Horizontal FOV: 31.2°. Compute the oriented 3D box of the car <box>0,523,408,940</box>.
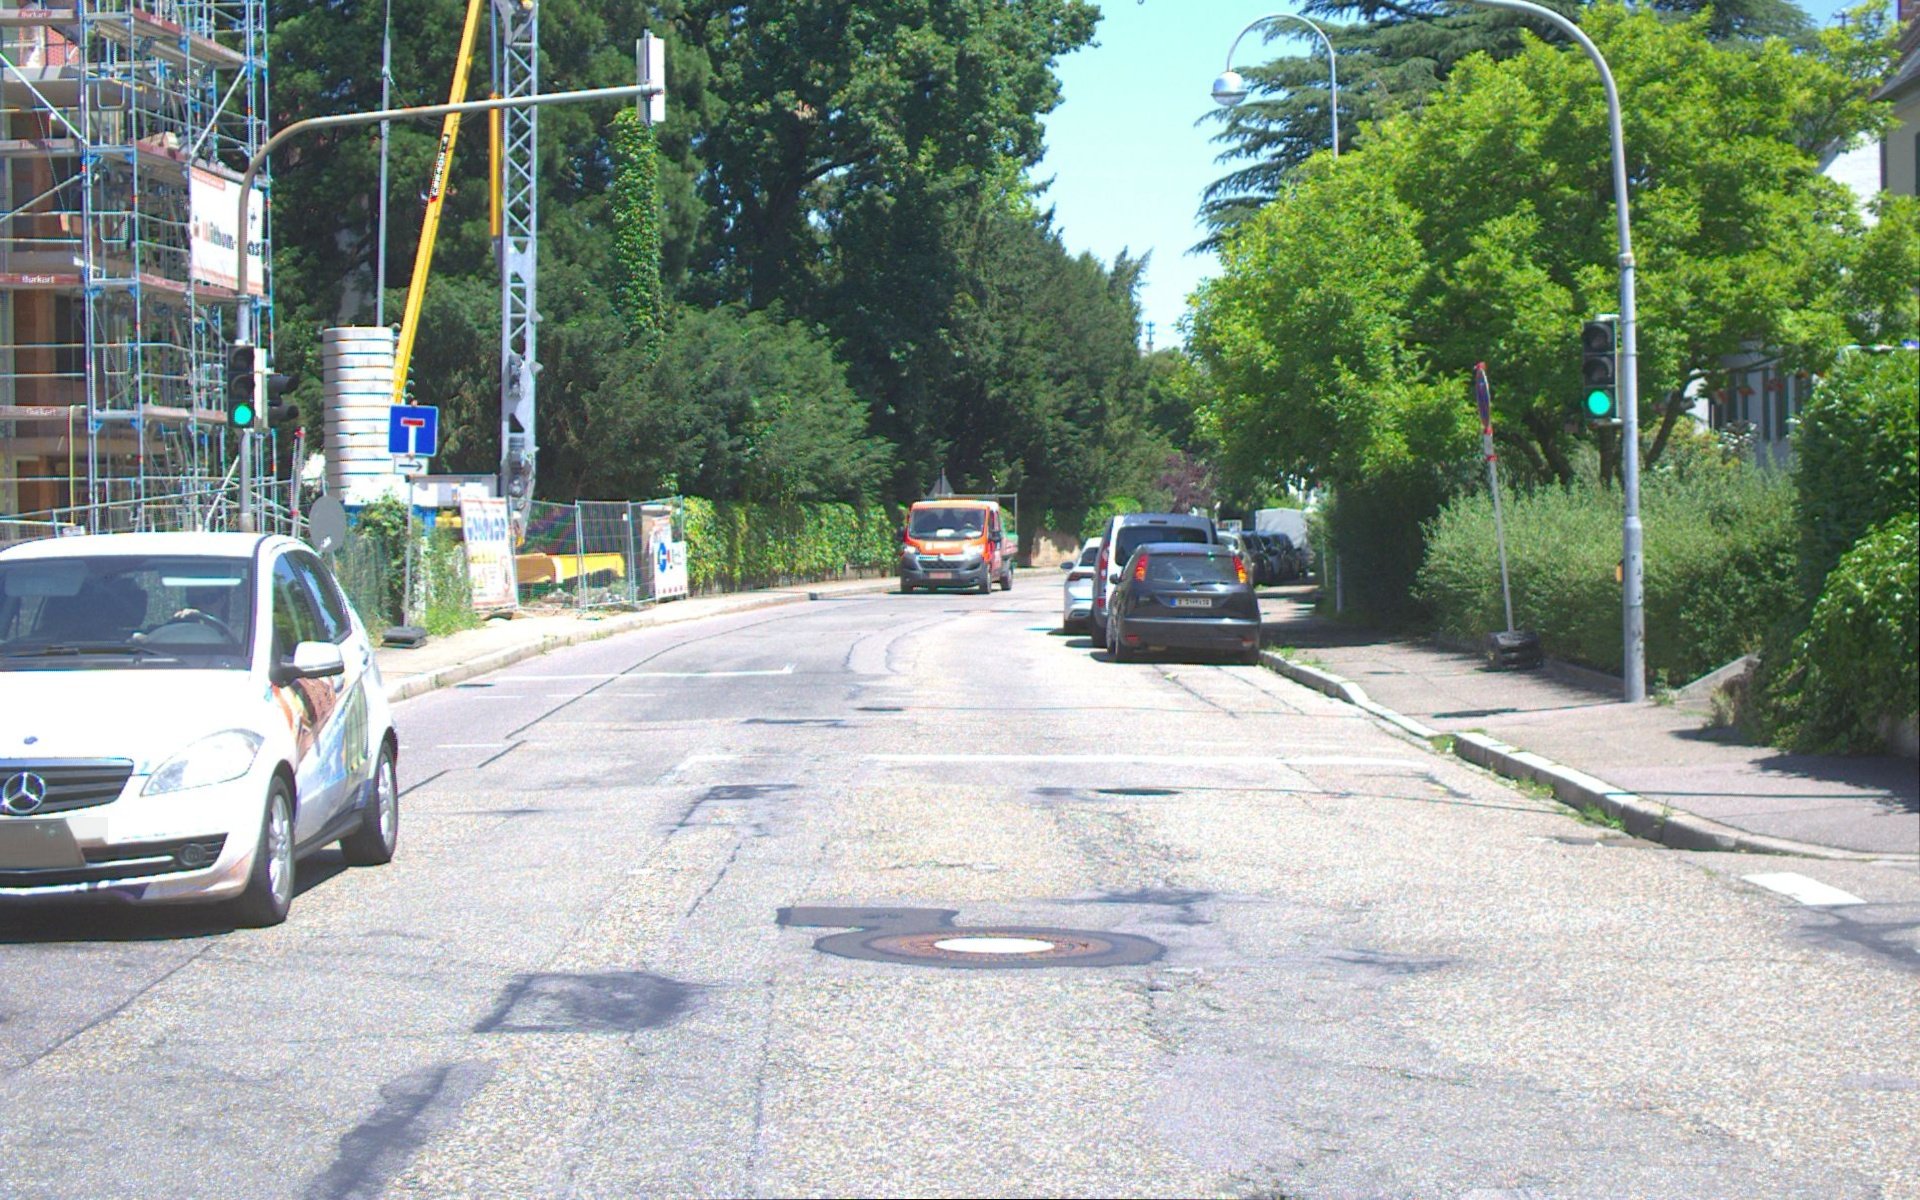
[{"bbox_3d":[-3.560,0.478,14.999,1.652,1.556,3.885,-2,1,0],"label":"car"}]

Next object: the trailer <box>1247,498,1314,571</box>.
[{"bbox_3d":[9.429,-1.939,100.872,1.680,2.060,3.707,2,2,9],"label":"trailer"}]

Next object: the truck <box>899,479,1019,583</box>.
[{"bbox_3d":[0.024,-1.652,81.144,2.128,2.331,6.433,1,2,6],"label":"truck"}]

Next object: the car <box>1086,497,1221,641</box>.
[{"bbox_3d":[2.583,-0.445,46.574,1.662,1.797,4.203,2,1,2],"label":"car"}]

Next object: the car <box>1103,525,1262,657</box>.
[{"bbox_3d":[2.668,-0.148,41.895,1.628,1.458,4.016,2,1,0],"label":"car"}]

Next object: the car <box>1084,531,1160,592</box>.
[{"bbox_3d":[4.185,-1.002,88.380,1.794,1.505,4.000,1,1,4],"label":"car"}]

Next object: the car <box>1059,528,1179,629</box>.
[{"bbox_3d":[2.443,-0.350,51.959,1.662,1.430,4.128,1,1,4],"label":"car"}]
